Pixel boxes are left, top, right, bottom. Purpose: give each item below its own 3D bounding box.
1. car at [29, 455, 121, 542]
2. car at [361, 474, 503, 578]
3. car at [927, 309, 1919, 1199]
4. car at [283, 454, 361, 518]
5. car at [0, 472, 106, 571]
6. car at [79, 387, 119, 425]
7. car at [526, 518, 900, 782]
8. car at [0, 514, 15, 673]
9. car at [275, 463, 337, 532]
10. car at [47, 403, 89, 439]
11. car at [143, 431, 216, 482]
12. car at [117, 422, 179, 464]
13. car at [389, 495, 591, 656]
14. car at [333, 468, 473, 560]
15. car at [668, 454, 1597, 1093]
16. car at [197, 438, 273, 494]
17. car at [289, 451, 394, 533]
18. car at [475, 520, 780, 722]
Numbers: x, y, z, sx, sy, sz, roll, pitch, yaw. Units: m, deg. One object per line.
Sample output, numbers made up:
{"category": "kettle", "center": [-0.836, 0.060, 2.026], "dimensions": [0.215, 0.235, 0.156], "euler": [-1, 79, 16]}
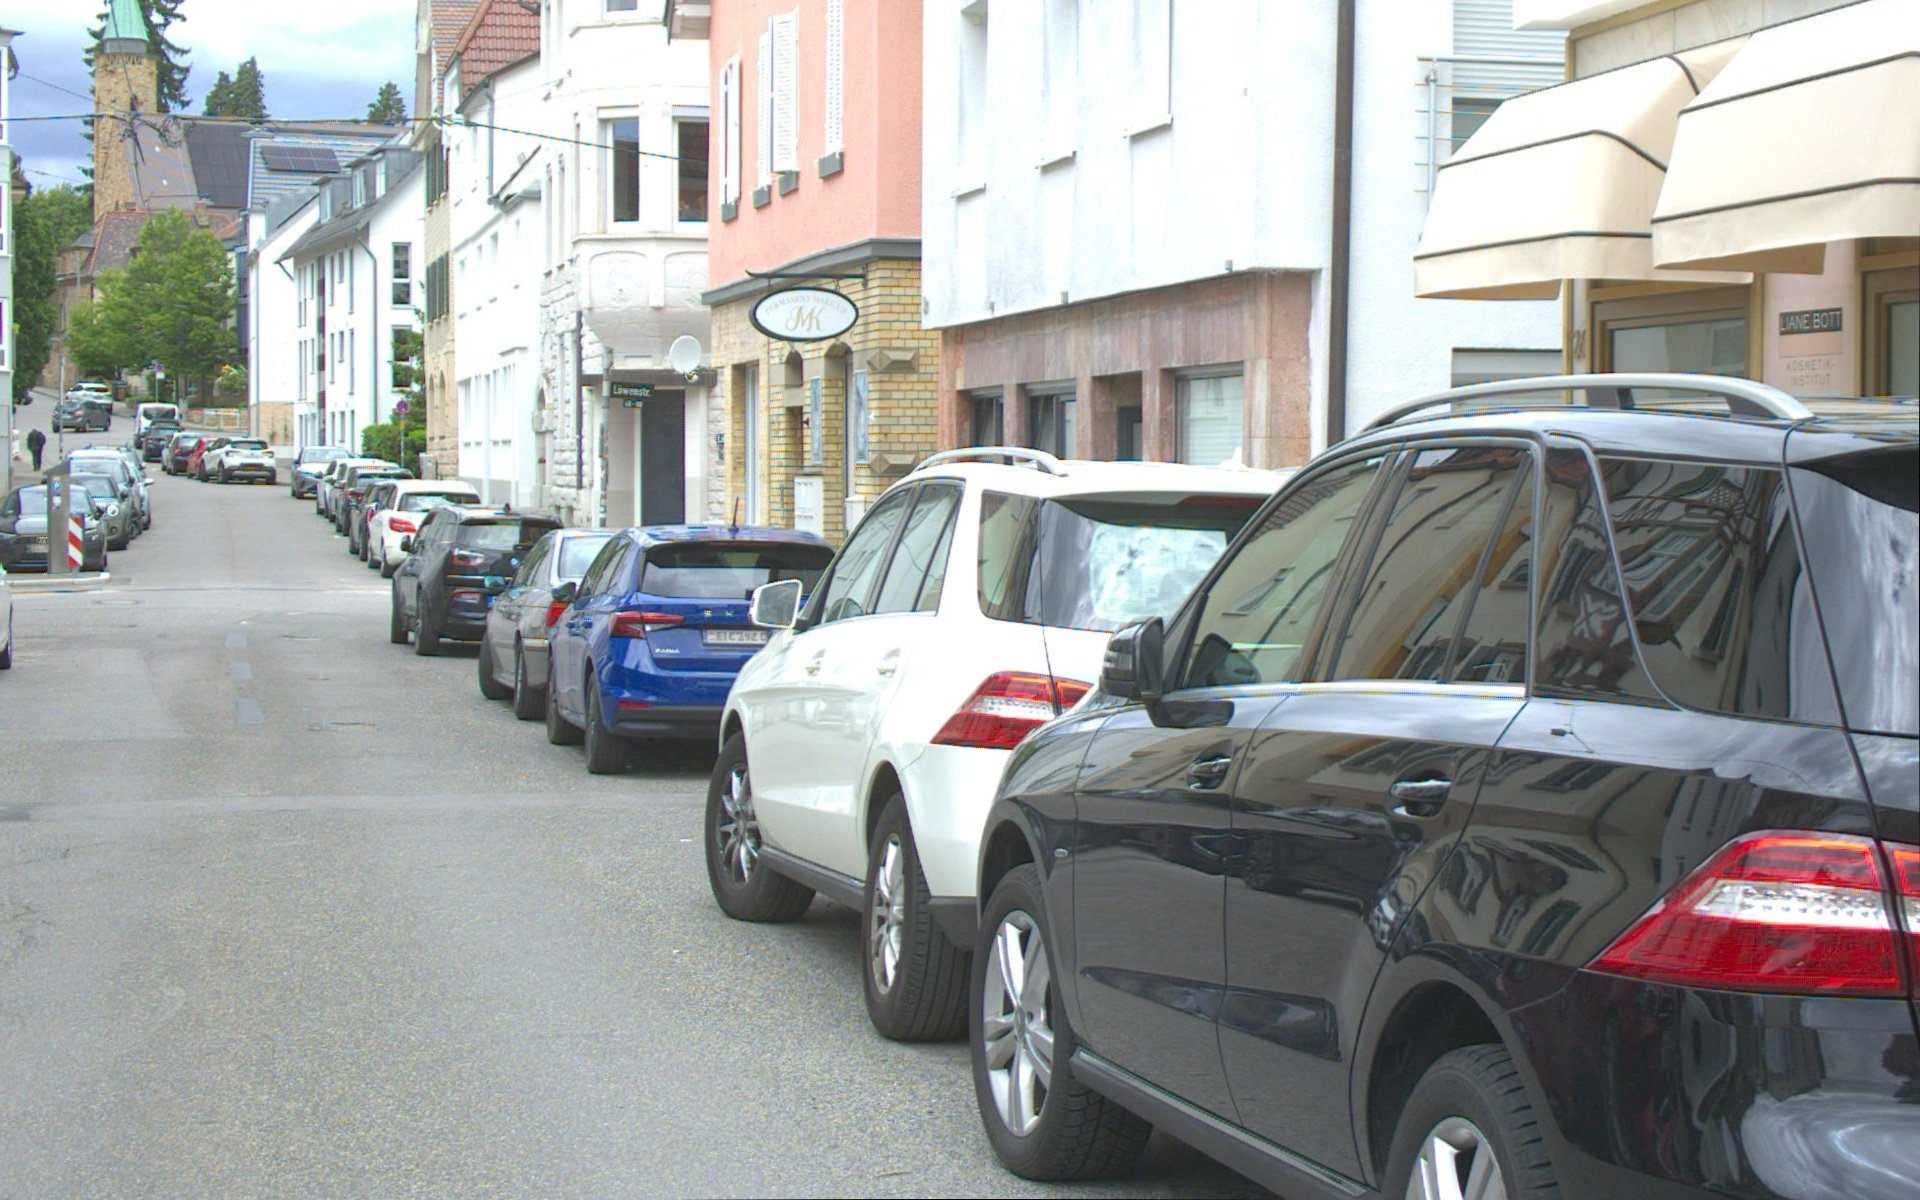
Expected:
{"category": "car", "center": [-16.620, -1.926, 64.627], "dimensions": [1.539, 1.510, 3.379], "euler": [2, 2, -13]}
{"category": "car", "center": [-8.726, -1.243, 56.596], "dimensions": [1.765, 1.520, 3.904], "euler": [1, 3, -17]}
{"category": "car", "center": [1.362, 0.528, 6.497], "dimensions": [1.940, 1.773, 4.370], "euler": [2, 0, -12]}
{"category": "car", "center": [-14.170, -2.535, 76.239], "dimensions": [1.407, 1.301, 2.903], "euler": [1, 3, -16]}
{"category": "car", "center": [-14.773, -1.300, 55.702], "dimensions": [1.673, 1.459, 4.002], "euler": [2, 2, -13]}
{"category": "car", "center": [-47.115, -10.623, 188.054], "dimensions": [1.820, 1.917, 3.752], "euler": [2, 3, -18]}
{"category": "car", "center": [-1.617, 0.241, 21.200], "dimensions": [1.774, 1.470, 3.783], "euler": [0, 1, -12]}
{"category": "car", "center": [-9.449, -0.059, 30.993], "dimensions": [1.586, 1.417, 3.402], "euler": [-1, 1, -12]}
{"category": "car", "center": [-17.987, -2.802, 94.476], "dimensions": [1.578, 1.753, 3.211], "euler": [1, 0, -12]}
{"category": "car", "center": [-43.860, -8.801, 169.025], "dimensions": [1.747, 1.678, 3.601], "euler": [2, 2, -17]}
{"category": "car", "center": [-27.959, -5.163, 123.054], "dimensions": [1.888, 1.640, 3.976], "euler": [2, 3, -21]}
{"category": "car", "center": [-32.843, -6.354, 139.011], "dimensions": [1.888, 1.598, 3.716], "euler": [2, 2, -21]}
{"category": "car", "center": [-5.069, -0.301, 36.713], "dimensions": [1.712, 1.544, 3.803], "euler": [2, 1, -14]}
{"category": "car", "center": [-10.025, -1.558, 61.701], "dimensions": [1.954, 1.569, 4.002], "euler": [1, 2, -17]}
{"category": "car", "center": [0.317, 0.396, 11.512], "dimensions": [1.933, 1.706, 4.378], "euler": [1, 2, -13]}
{"category": "car", "center": [-23.789, -4.405, 112.673], "dimensions": [1.759, 1.661, 4.002], "euler": [2, 2, -21]}
{"category": "car", "center": [-12.836, -2.254, 71.227], "dimensions": [1.727, 1.569, 3.836], "euler": [1, 3, -16]}
{"category": "car", "center": [-2.617, 0.107, 26.218], "dimensions": [1.748, 1.386, 4.033], "euler": [1, 1, -13]}
